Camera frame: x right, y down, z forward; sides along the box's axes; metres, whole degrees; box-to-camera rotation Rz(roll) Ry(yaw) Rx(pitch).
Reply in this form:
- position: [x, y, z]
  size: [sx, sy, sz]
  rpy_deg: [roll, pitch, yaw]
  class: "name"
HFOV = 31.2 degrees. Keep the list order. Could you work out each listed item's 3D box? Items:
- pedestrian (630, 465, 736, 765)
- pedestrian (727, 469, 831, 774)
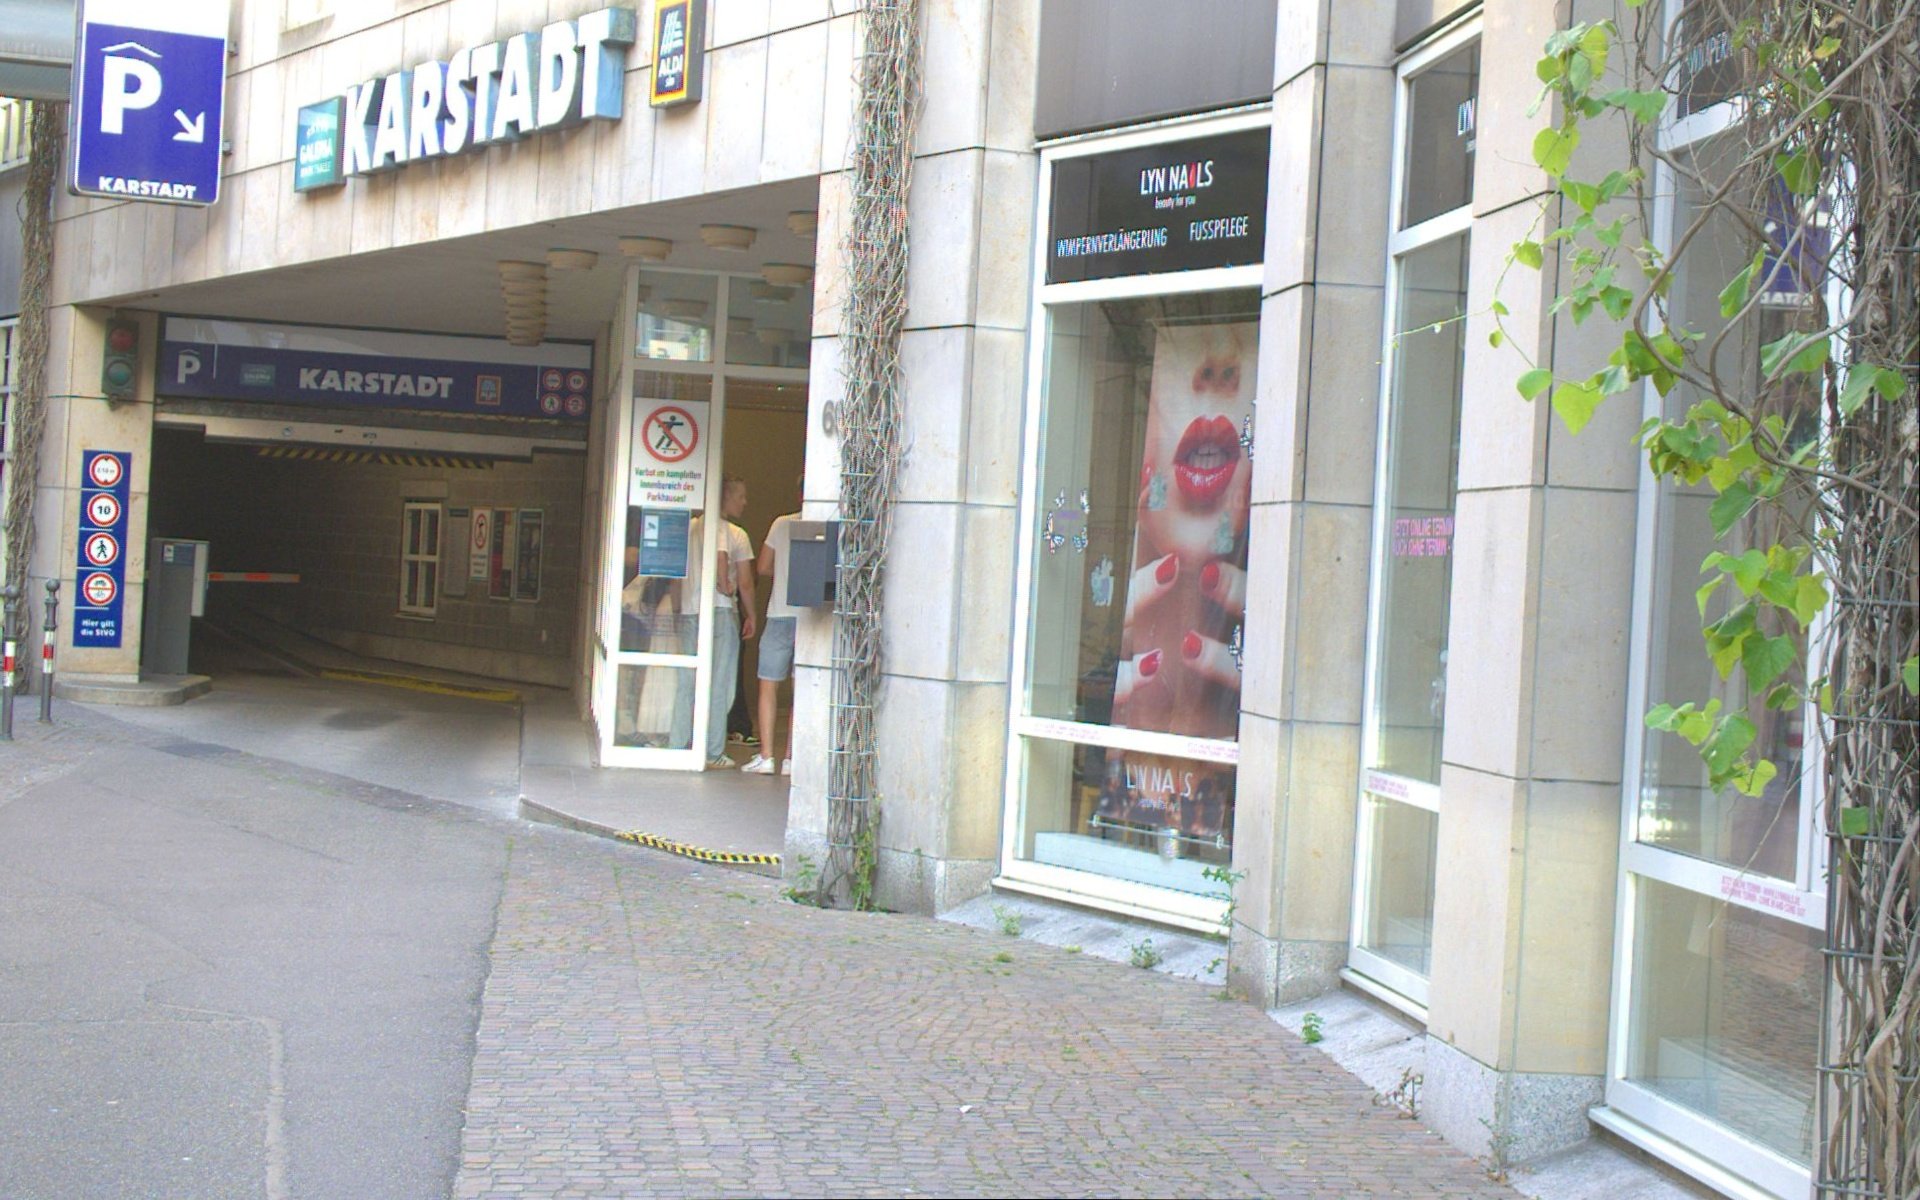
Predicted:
- position: [-1.738, 0.090, 21.595]
  size: [0.542, 1.840, 0.408]
  rpy_deg: [3, 1, -1]
  class: "pedestrian"
- position: [-1.126, 0.127, 21.430]
  size: [0.542, 1.855, 0.408]
  rpy_deg: [3, 1, -1]
  class: "pedestrian"
